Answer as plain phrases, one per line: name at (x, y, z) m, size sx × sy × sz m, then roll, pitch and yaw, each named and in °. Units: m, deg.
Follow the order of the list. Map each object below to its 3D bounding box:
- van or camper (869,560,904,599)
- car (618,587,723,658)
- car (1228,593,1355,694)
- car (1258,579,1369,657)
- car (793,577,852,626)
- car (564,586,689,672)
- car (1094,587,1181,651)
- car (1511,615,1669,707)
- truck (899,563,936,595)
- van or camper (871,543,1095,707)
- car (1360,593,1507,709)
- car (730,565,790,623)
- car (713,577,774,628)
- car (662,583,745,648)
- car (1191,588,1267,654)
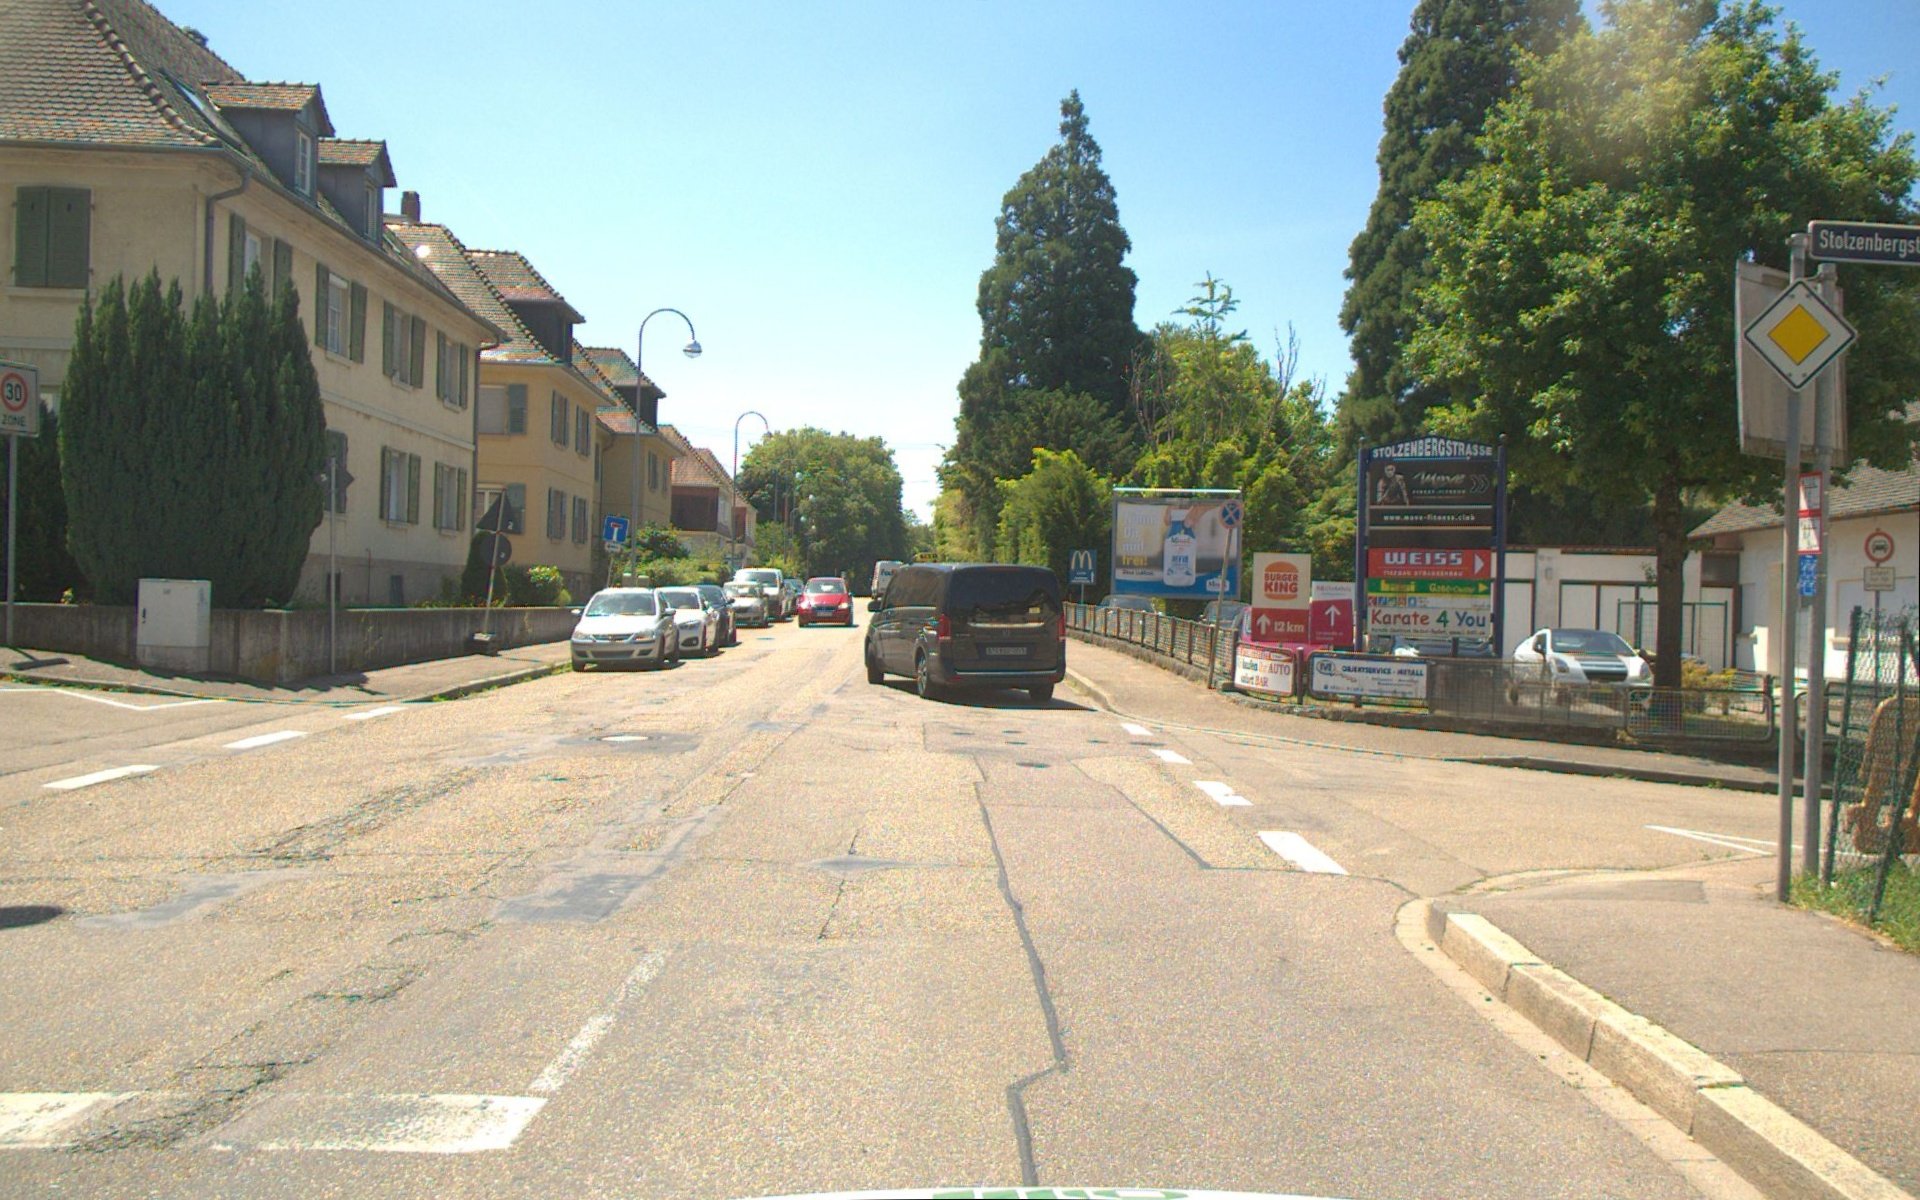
van or camper at (-4.922, -1.349, 110.163) m, size 2.217 × 2.572 × 4.756 m, roll 0°, pitch 0°, yaw -4°
car at (-6.146, 0.433, 35.543) m, size 1.759 × 1.426 × 4.216 m, roll 0°, pitch 0°, yaw -4°
car at (5.546, 0.674, 28.055) m, size 1.675 × 1.550 × 3.842 m, roll 1°, pitch 0°, yaw 5°
car at (9.364, 0.437, 44.113) m, size 1.740 × 1.830 × 4.163 m, roll 5°, pitch 0°, yaw -3°
car at (-4.568, 0.022, 55.364) m, size 1.778 × 1.593 × 3.695 m, roll 0°, pitch 0°, yaw -2°
car at (-6.095, 0.488, 30.582) m, size 1.724 × 1.473 × 3.922 m, roll 0°, pitch 0°, yaw -4°
car at (4.714, 0.481, 44.386) m, size 1.600 × 1.484 × 3.553 m, roll 5°, pitch 0°, yaw -4°
car at (10.249, 0.954, 27.132) m, size 1.675 × 1.292 × 3.387 m, roll 2°, pitch 1°, yaw 8°
truck at (-3.233, -1.594, 124.588) m, size 2.310 × 2.298 × 6.084 m, roll 1°, pitch 0°, yaw -6°
van or camper at (0.177, 0.284, 23.767) m, size 1.871 × 2.048 × 5.250 m, roll 2°, pitch 0°, yaw -14°
car at (7.853, 0.780, 27.770) m, size 1.675 × 1.694 × 4.463 m, roll 3°, pitch 0°, yaw 8°
car at (-7.365, -0.254, 61.198) m, size 1.840 × 1.997 × 4.623 m, roll -1°, pitch 1°, yaw -3°
car at (-7.105, 0.053, 54.602) m, size 1.653 × 1.552 × 4.060 m, roll 2°, pitch 1°, yaw -3°
car at (-6.291, 0.342, 40.911) m, size 1.682 × 1.511 × 4.073 m, roll -1°, pitch 0°, yaw -4°
car at (7.228, 0.556, 44.690) m, size 1.597 × 1.569 × 3.394 m, roll 5°, pitch 0°, yaw 4°
